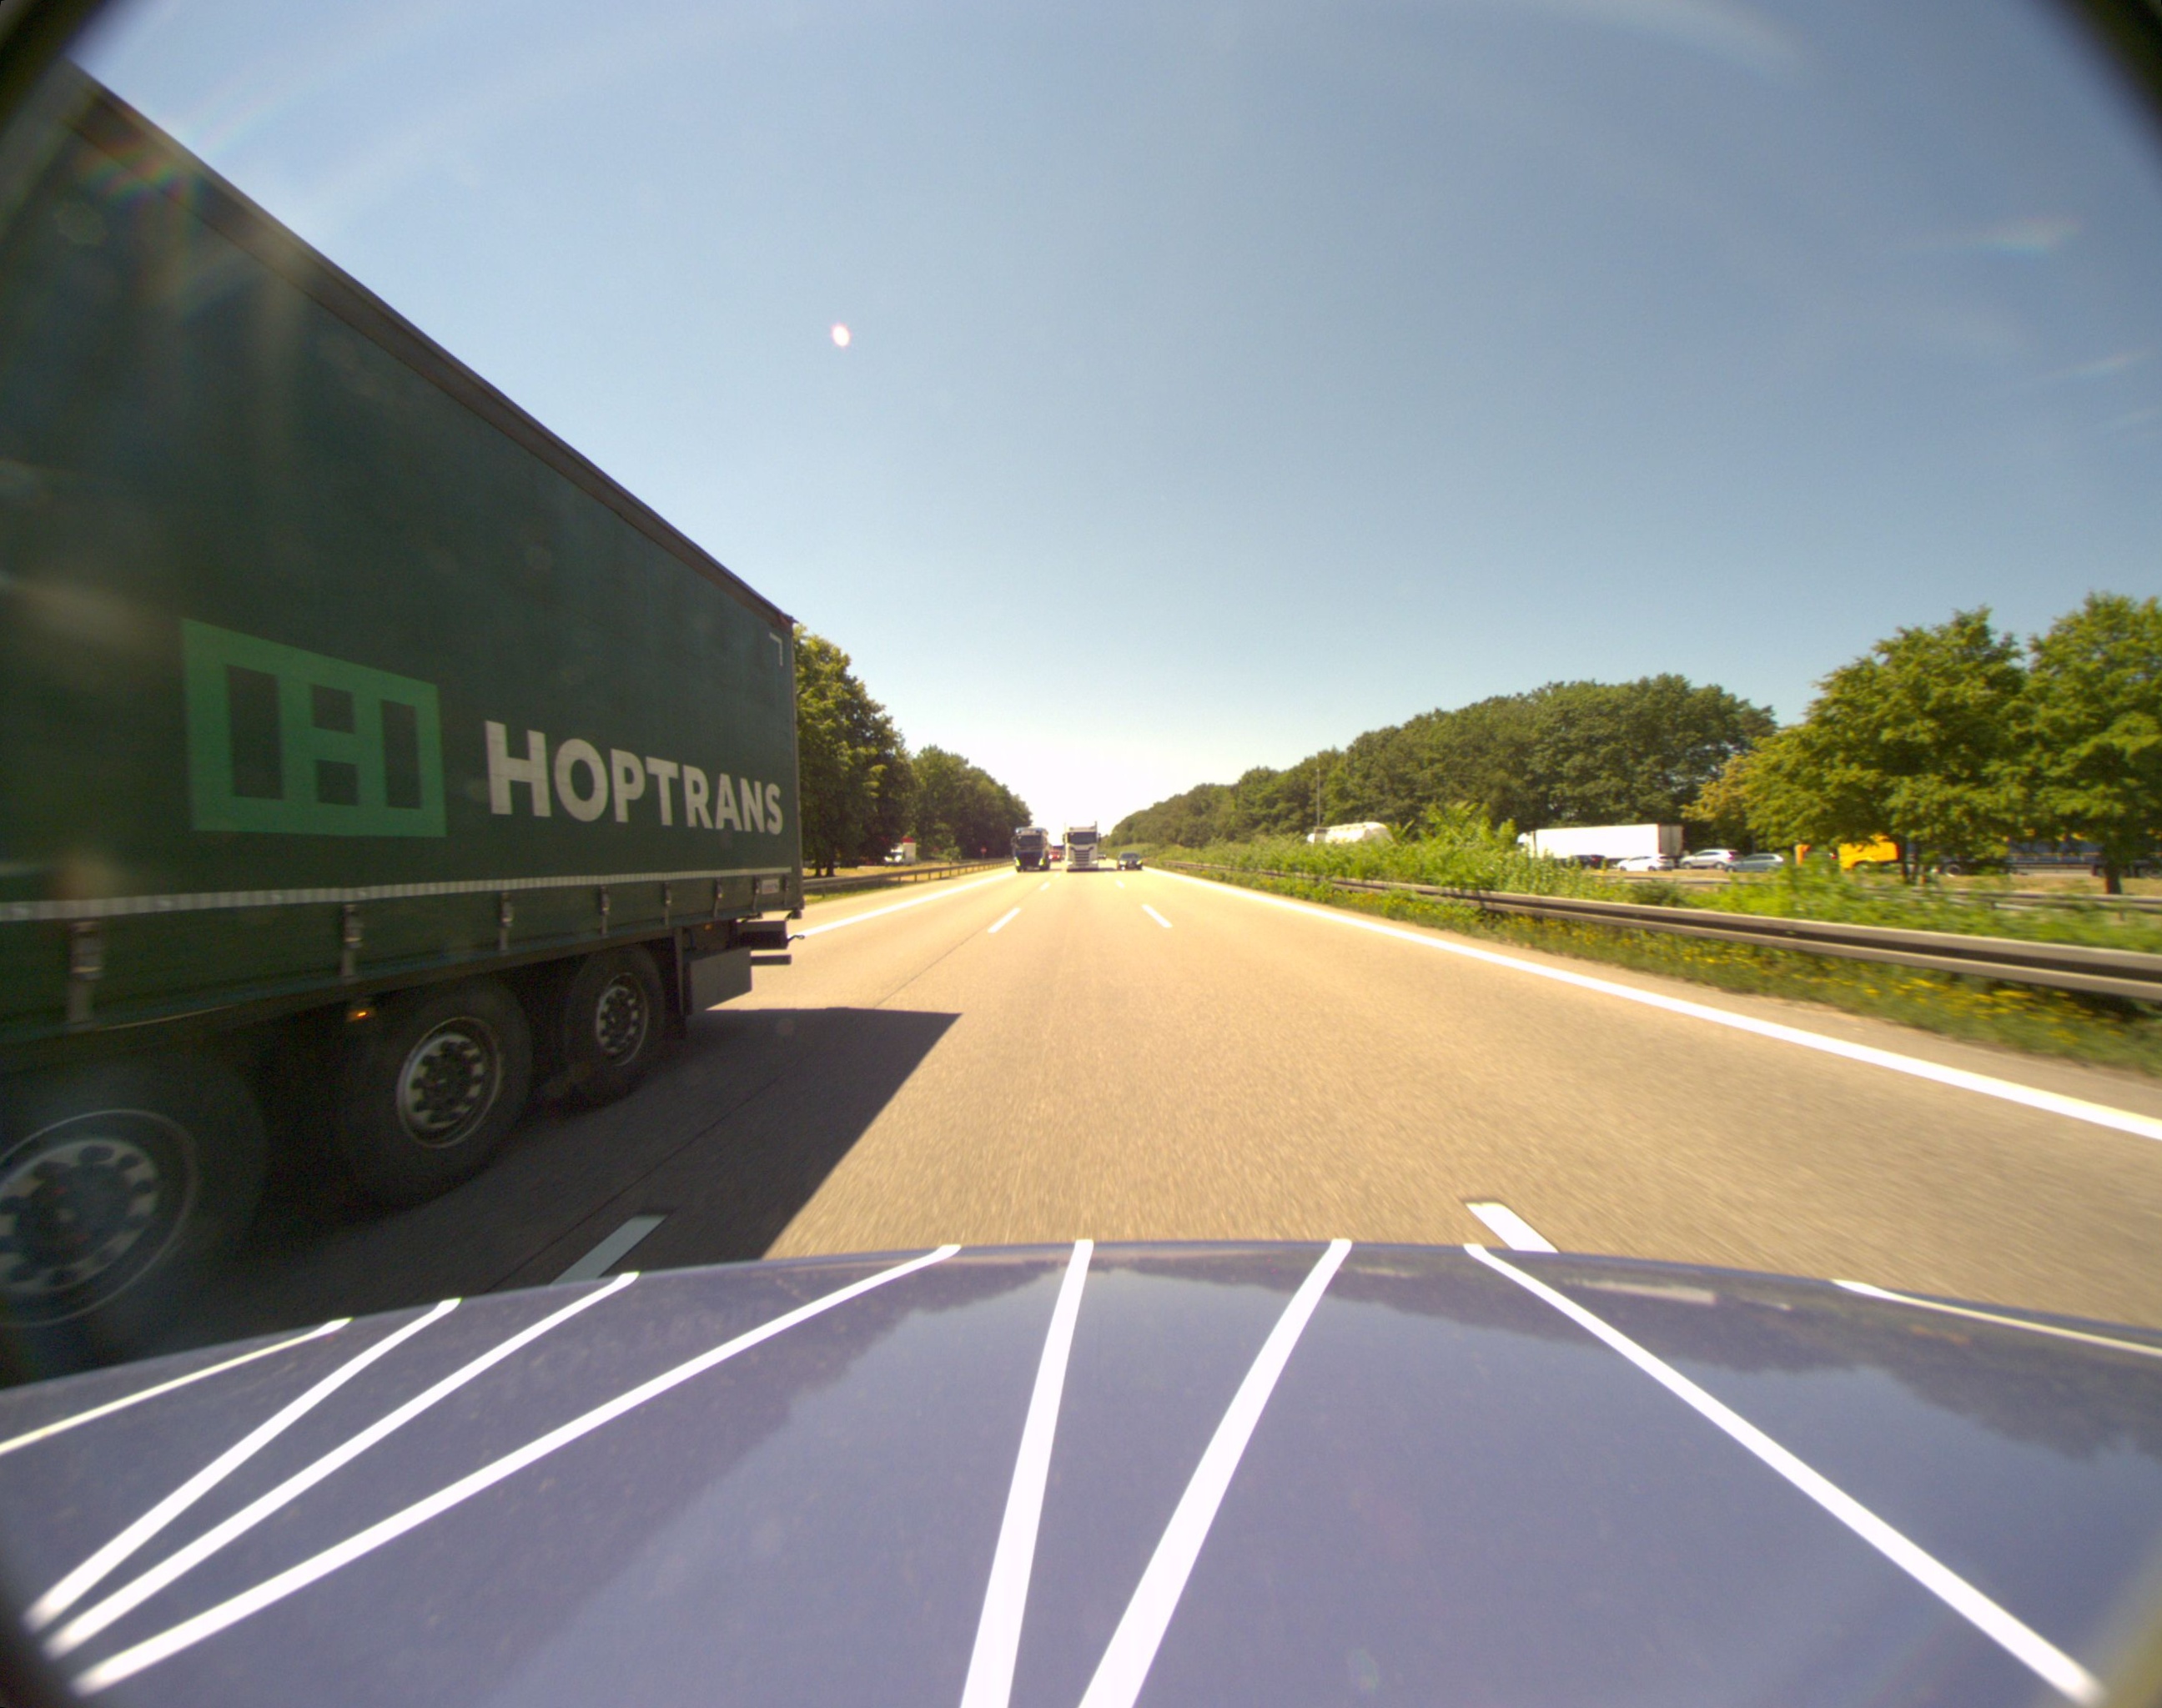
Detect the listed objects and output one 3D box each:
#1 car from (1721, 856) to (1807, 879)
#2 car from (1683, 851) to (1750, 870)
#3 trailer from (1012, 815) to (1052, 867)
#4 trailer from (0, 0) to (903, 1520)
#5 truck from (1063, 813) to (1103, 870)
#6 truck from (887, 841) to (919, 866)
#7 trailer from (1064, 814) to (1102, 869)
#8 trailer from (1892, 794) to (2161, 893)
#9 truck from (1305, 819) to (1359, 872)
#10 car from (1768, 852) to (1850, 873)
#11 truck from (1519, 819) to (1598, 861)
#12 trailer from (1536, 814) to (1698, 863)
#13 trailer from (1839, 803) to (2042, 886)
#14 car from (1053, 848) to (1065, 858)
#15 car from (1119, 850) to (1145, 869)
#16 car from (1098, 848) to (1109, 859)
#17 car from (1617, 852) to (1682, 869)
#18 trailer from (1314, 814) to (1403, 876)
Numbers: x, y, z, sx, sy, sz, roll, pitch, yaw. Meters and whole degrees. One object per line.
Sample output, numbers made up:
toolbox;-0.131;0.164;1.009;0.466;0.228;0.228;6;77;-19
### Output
car;45.563;0.884;50.797;1.740;1.447;3.996;0;1;-11
car;51.938;0.512;62.193;1.740;1.447;3.996;0;1;-11
trailer;-4.218;-1.076;67.978;2.863;4.247;11.470;0;1;0
trailer;-4.215;-0.426;3.954;2.863;4.247;14.978;-2;1;0
truck;0.163;-0.979;60.021;2.863;4.247;5.411;-2;1;1
truck;-21.406;-0.088;91.447;1.997;2.856;5.670;0;1;6
trailer;0.236;-1.046;65.794;2.863;4.247;11.470;-2;1;1
trailer;47.964;-0.482;35.840;3.612;4.239;14.014;0;1;-5
truck;20.744;-0.693;63.019;2.889;4.239;4.819;0;1;0
car;52.483;0.573;54.897;1.740;1.447;3.996;0;1;-11
truck;49.312;-1.425;78.694;3.613;4.239;6.262;0;1;-11
trailer;50.475;-1.381;72.511;3.613;4.239;14.008;0;1;-11
trailer;47.383;-0.529;42.245;3.612;4.239;6.591;0;1;-5
car;-3.495;-0.178;120.477;1.811;1.612;4.000;0;1;1
car;4.035;0.428;60.636;1.811;1.399;4.000;-2;1;1
car;4.010;-0.129;135.884;1.806;1.774;4.000;-1;1;1
car;45.004;0.499;60.277;1.740;1.281;3.996;0;1;-11
trailer;20.709;-0.650;57.586;2.889;4.239;10.838;0;1;0
